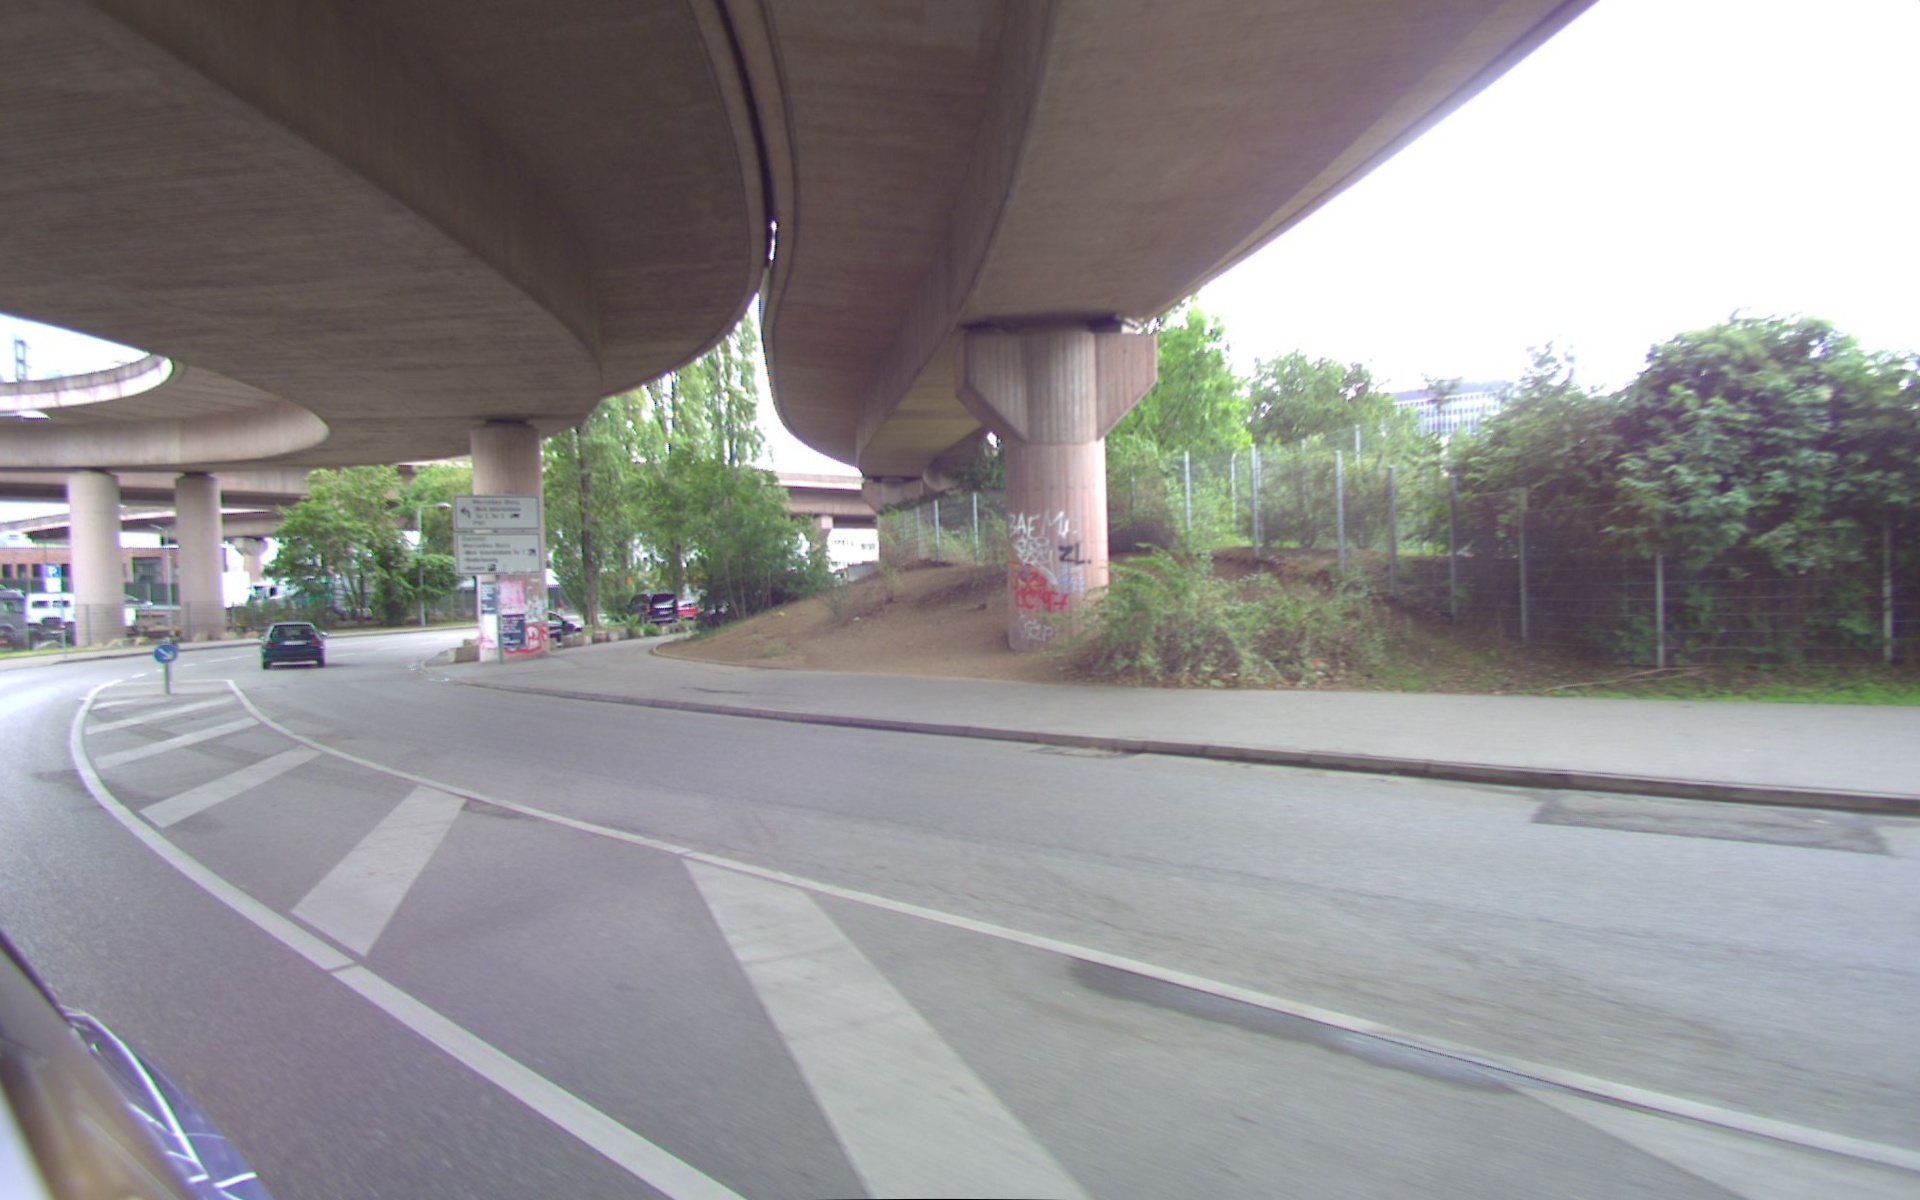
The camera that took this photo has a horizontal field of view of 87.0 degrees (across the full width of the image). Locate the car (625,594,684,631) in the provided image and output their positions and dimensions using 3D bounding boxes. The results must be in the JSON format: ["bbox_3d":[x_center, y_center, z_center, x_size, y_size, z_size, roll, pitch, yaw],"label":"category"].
[{"bbox_3d":[-17.456,0.674,57.683,1.826,1.931,4.987,-2,1,-34],"label":"car"}]

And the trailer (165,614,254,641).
[{"bbox_3d":[-43.480,1.556,58.772,1.586,1.341,4.373,-1,1,7],"label":"trailer"}]

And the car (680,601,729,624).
[{"bbox_3d":[-16.392,0.787,64.790,1.667,1.374,4.529,-2,1,-32],"label":"car"}]

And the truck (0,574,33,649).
[{"bbox_3d":[-59.371,0.811,56.854,3.902,4.399,10.023,-2,0,33],"label":"truck"}]

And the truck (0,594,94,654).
[{"bbox_3d":[-46.087,1.137,49.684,2.384,2.764,7.255,-2,0,-14],"label":"truck"}]

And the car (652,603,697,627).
[{"bbox_3d":[-17.380,0.895,61.435,1.539,1.390,3.715,-2,1,-34],"label":"car"}]

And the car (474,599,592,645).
[{"bbox_3d":[-15.822,0.762,37.768,1.807,1.441,4.762,-4,0,8],"label":"car"}]

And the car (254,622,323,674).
[{"bbox_3d":[-21.358,1.477,32.129,1.654,1.441,4.010,-2,0,-35],"label":"car"}]

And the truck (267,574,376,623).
[{"bbox_3d":[-46.832,-0.195,74.377,2.267,3.434,6.334,0,1,36],"label":"truck"}]

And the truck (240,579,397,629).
[{"bbox_3d":[-48.699,0.196,77.249,2.265,3.524,10.099,0,1,34],"label":"truck"}]
